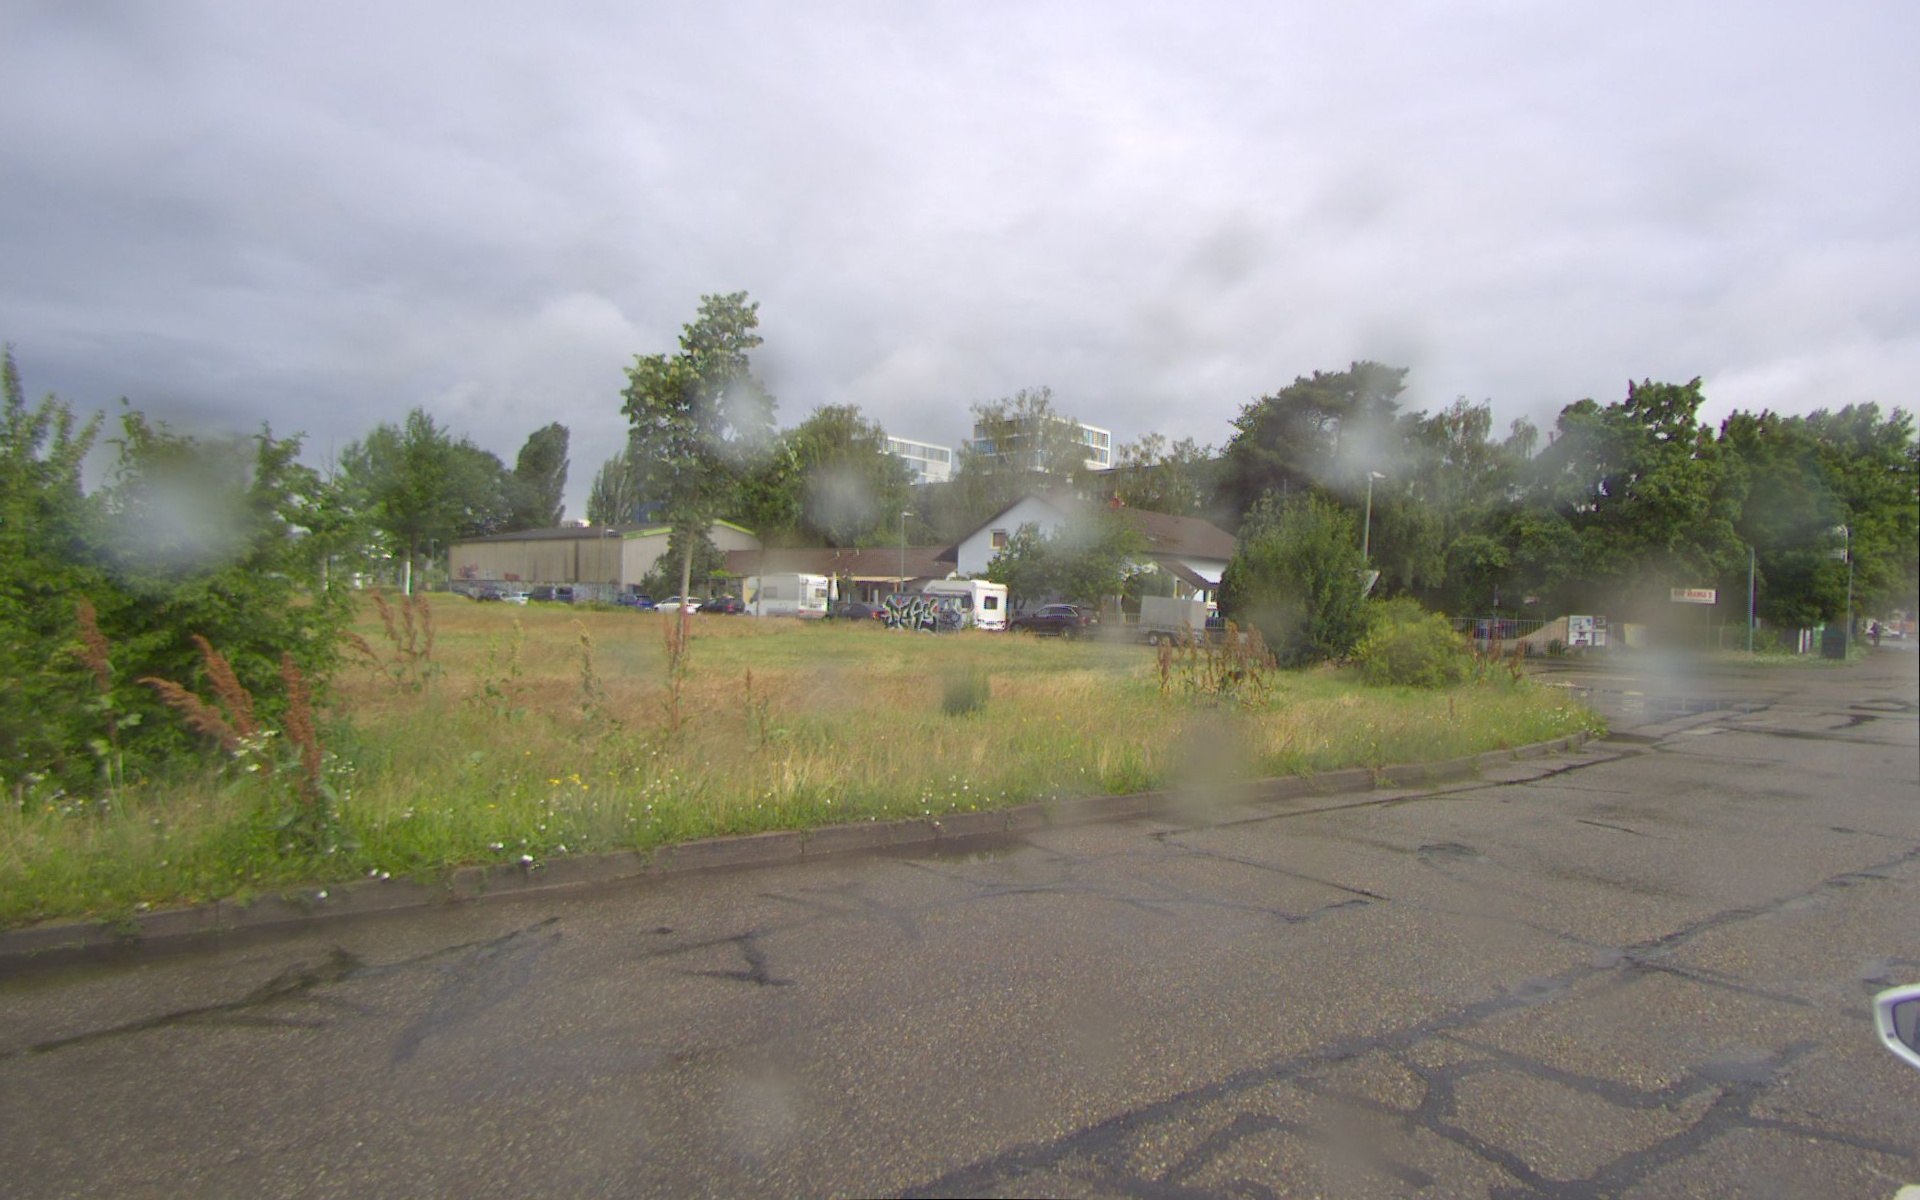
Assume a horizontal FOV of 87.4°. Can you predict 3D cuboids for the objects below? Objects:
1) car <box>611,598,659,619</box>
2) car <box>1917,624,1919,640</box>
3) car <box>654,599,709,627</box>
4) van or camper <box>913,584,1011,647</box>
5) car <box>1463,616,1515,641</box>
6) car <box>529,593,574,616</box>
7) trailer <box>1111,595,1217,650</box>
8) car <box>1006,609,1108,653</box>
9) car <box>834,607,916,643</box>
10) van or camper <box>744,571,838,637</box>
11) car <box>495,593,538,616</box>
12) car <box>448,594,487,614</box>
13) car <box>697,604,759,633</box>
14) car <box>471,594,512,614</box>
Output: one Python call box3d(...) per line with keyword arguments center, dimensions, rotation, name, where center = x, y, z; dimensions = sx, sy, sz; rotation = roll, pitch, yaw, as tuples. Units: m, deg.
box3d(center=(-23.300, 0.583, 71.915), dimensions=(3.945, 1.417, 1.635), rotation=(2, 0, 44), name="car")
box3d(center=(105.443, 3.502, 109.087), dimensions=(1.973, 1.725, 3.996), rotation=(2, 0, 41), name="car")
box3d(center=(-18.818, 0.874, 67.789), dimensions=(3.945, 1.726, 1.870), rotation=(2, 0, 44), name="car")
box3d(center=(0.076, 0.744, 50.780), dimensions=(4.454, 2.985, 2.468), rotation=(2, 0, 45), name="van or camper")
box3d(center=(33.821, 1.818, 64.215), dimensions=(1.970, 1.437, 4.522), rotation=(1, -1, 41), name="car")
box3d(center=(-32.701, 0.345, 80.371), dimensions=(3.940, 1.662, 1.642), rotation=(2, 0, 41), name="car")
box3d(center=(8.803, 0.949, 43.446), dimensions=(4.054, 2.117, 1.835), rotation=(4, 1, 42), name="trailer")
box3d(center=(4.446, 1.407, 46.414), dimensions=(1.987, 1.799, 4.458), rotation=(2, 0, -45), name="car")
box3d(center=(-4.642, 1.334, 54.515), dimensions=(1.987, 1.799, 4.458), rotation=(2, 0, -45), name="car")
box3d(center=(-10.198, 0.195, 60.378), dimensions=(5.772, 3.794, 2.638), rotation=(2, 0, 45), name="van or camper")
box3d(center=(-36.895, 0.382, 83.507), dimensions=(3.945, 1.751, 1.988), rotation=(2, 0, 44), name="car")
box3d(center=(-45.014, 0.345, 91.767), dimensions=(3.945, 1.728, 1.988), rotation=(2, 0, 44), name="car")
box3d(center=(-14.829, 1.159, 64.171), dimensions=(3.943, 1.706, 1.989), rotation=(2, 0, 43), name="car")
box3d(center=(-40.622, 0.335, 87.055), dimensions=(3.945, 1.572, 1.988), rotation=(2, 0, 44), name="car")
